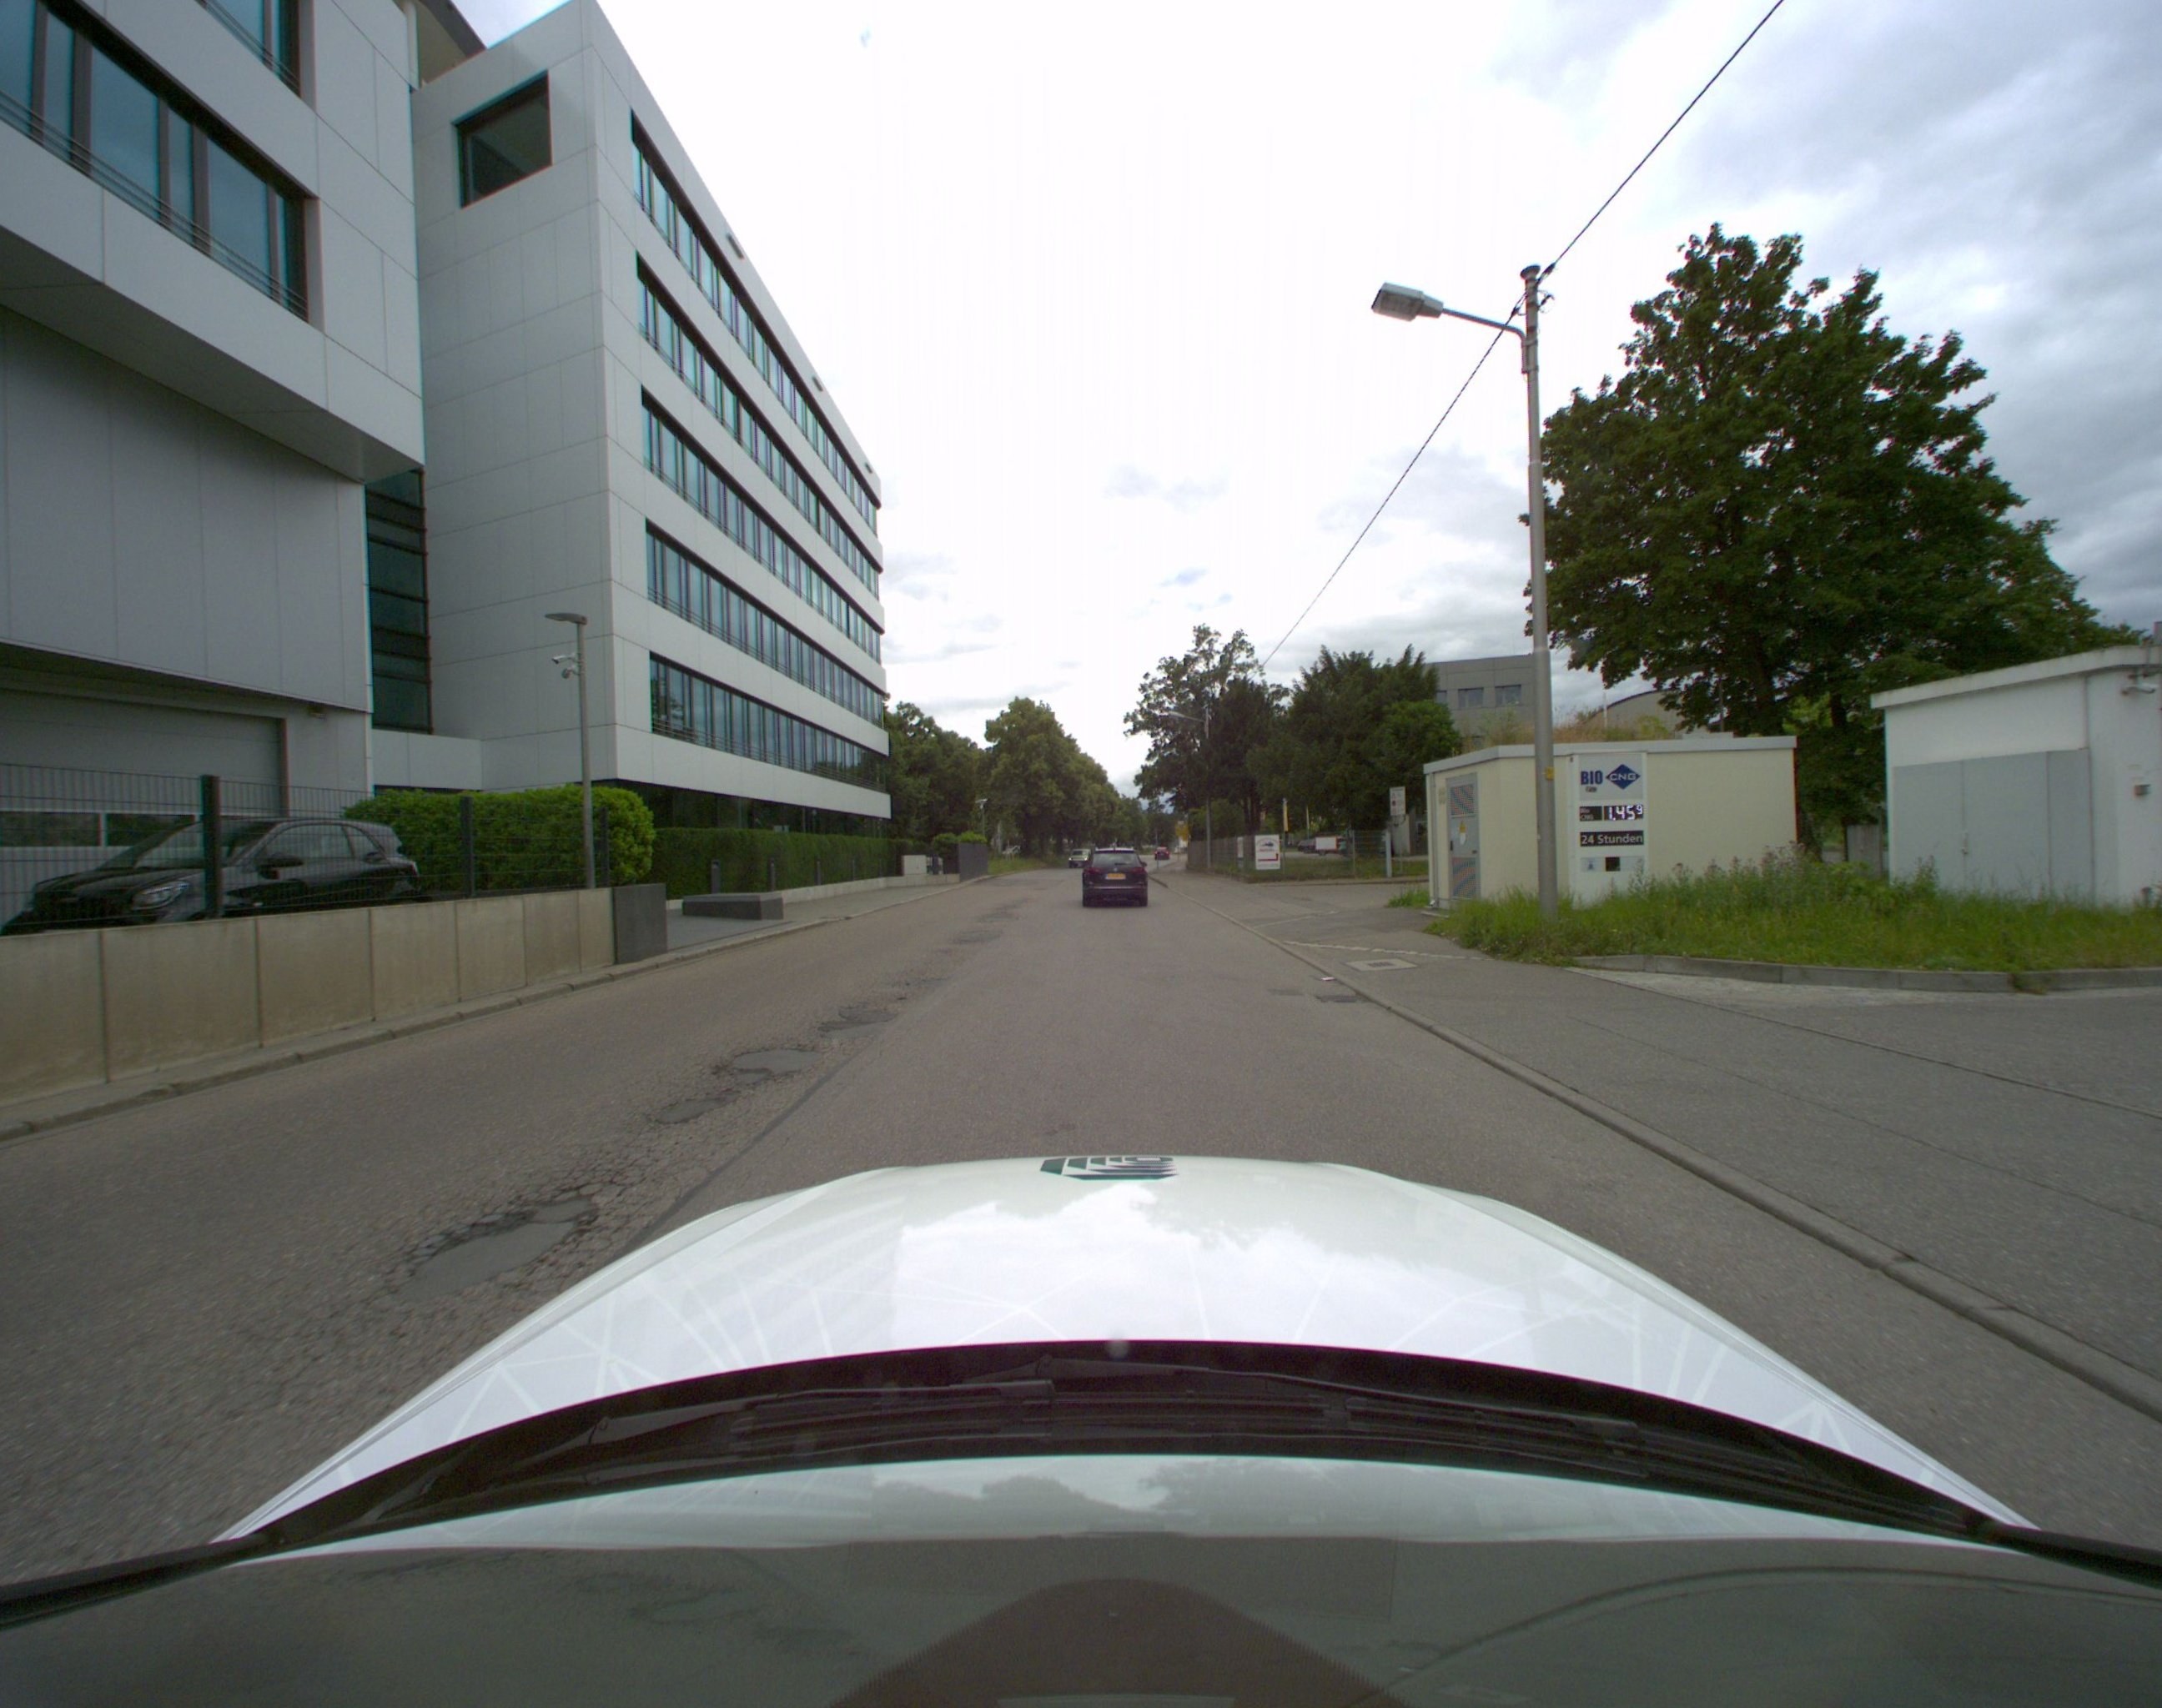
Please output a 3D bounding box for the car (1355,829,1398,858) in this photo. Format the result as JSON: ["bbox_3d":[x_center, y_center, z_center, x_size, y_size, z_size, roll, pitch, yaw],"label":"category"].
[{"bbox_3d":[18.339,-0.697,50.762,1.979,1.566,4.459,-5,0,14],"label":"car"}]

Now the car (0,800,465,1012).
[{"bbox_3d":[-8.435,0.425,8.386,1.644,1.761,3.181,0,0,3],"label":"car"}]

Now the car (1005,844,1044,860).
[{"bbox_3d":[-9.245,-0.406,133.432,6.044,2.387,2.397,-2,1,3],"label":"car"}]

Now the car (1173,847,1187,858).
[{"bbox_3d":[17.474,-0.255,143.367,1.980,1.786,4.013,-1,0,12],"label":"car"}]

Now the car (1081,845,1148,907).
[{"bbox_3d":[0.998,0.588,23.429,1.732,1.618,3.644,-1,0,3],"label":"car"}]

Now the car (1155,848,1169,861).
[{"bbox_3d":[10.138,0.031,101.790,1.651,1.574,3.833,-3,0,5],"label":"car"}]

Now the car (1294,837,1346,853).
[{"bbox_3d":[25.222,-0.927,86.066,4.797,1.534,2.036,-2,1,38],"label":"car"}]

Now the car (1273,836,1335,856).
[{"bbox_3d":[18.561,-0.656,68.070,2.010,1.474,4.638,-3,-1,-40],"label":"car"}]

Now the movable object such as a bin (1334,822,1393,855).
[{"bbox_3d":[21.115,-1.153,60.984,3.958,2.305,1.960,-3,0,13],"label":"movable object such as a bin"}]

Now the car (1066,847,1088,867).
[{"bbox_3d":[-0.338,0.266,77.222,1.799,1.764,4.210,-1,0,4],"label":"car"}]
